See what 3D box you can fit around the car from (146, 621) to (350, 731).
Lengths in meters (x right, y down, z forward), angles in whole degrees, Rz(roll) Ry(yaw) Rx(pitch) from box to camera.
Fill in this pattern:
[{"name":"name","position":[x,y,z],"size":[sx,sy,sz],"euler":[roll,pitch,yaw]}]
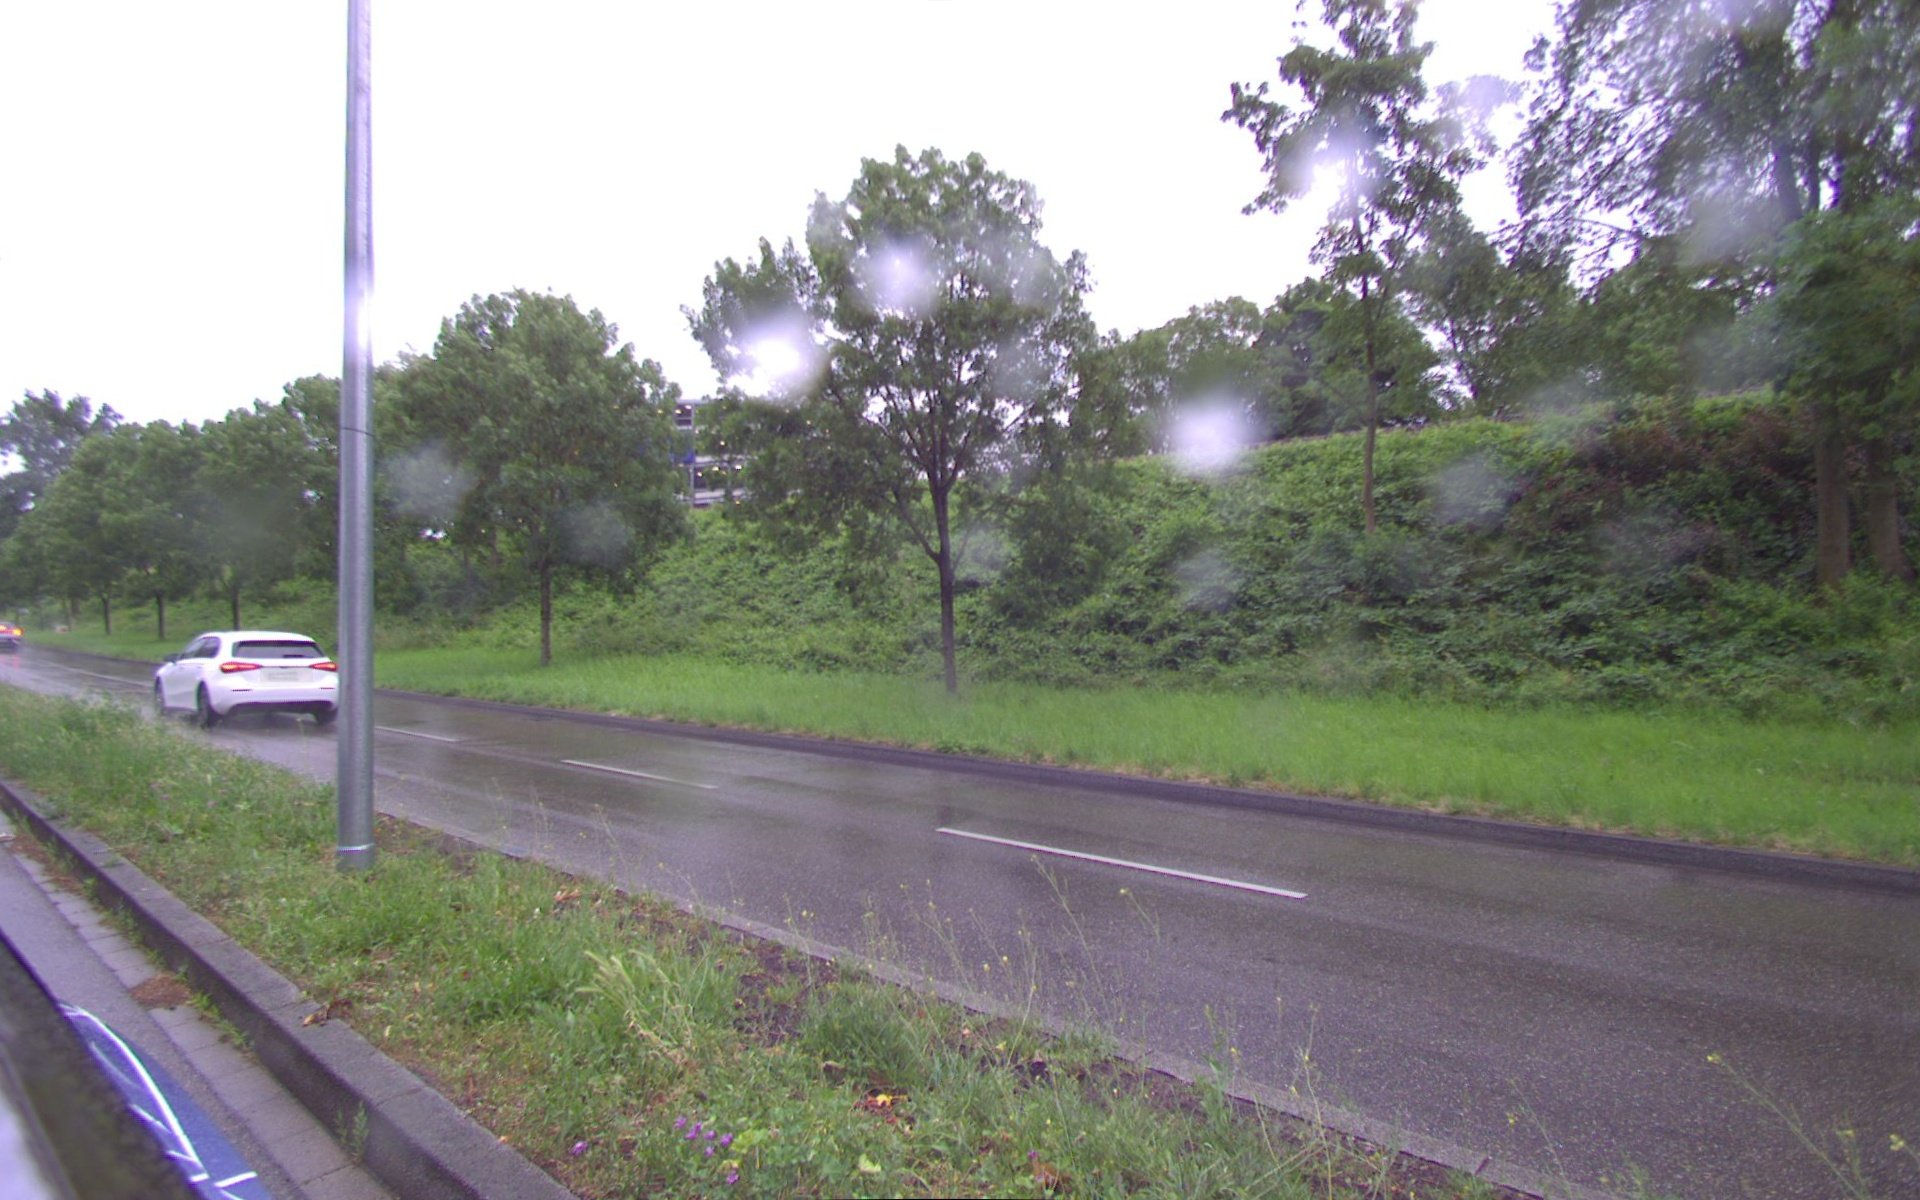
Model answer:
[{"name":"car","position":[-11.622,1.162,16.434],"size":[4.045,1.531,1.716],"euler":[0,-4,41]}]

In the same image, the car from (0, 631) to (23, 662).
[{"name":"car","position":[-49.934,2.375,52.189],"size":[4.299,1.531,1.867],"euler":[-2,-4,41]}]
